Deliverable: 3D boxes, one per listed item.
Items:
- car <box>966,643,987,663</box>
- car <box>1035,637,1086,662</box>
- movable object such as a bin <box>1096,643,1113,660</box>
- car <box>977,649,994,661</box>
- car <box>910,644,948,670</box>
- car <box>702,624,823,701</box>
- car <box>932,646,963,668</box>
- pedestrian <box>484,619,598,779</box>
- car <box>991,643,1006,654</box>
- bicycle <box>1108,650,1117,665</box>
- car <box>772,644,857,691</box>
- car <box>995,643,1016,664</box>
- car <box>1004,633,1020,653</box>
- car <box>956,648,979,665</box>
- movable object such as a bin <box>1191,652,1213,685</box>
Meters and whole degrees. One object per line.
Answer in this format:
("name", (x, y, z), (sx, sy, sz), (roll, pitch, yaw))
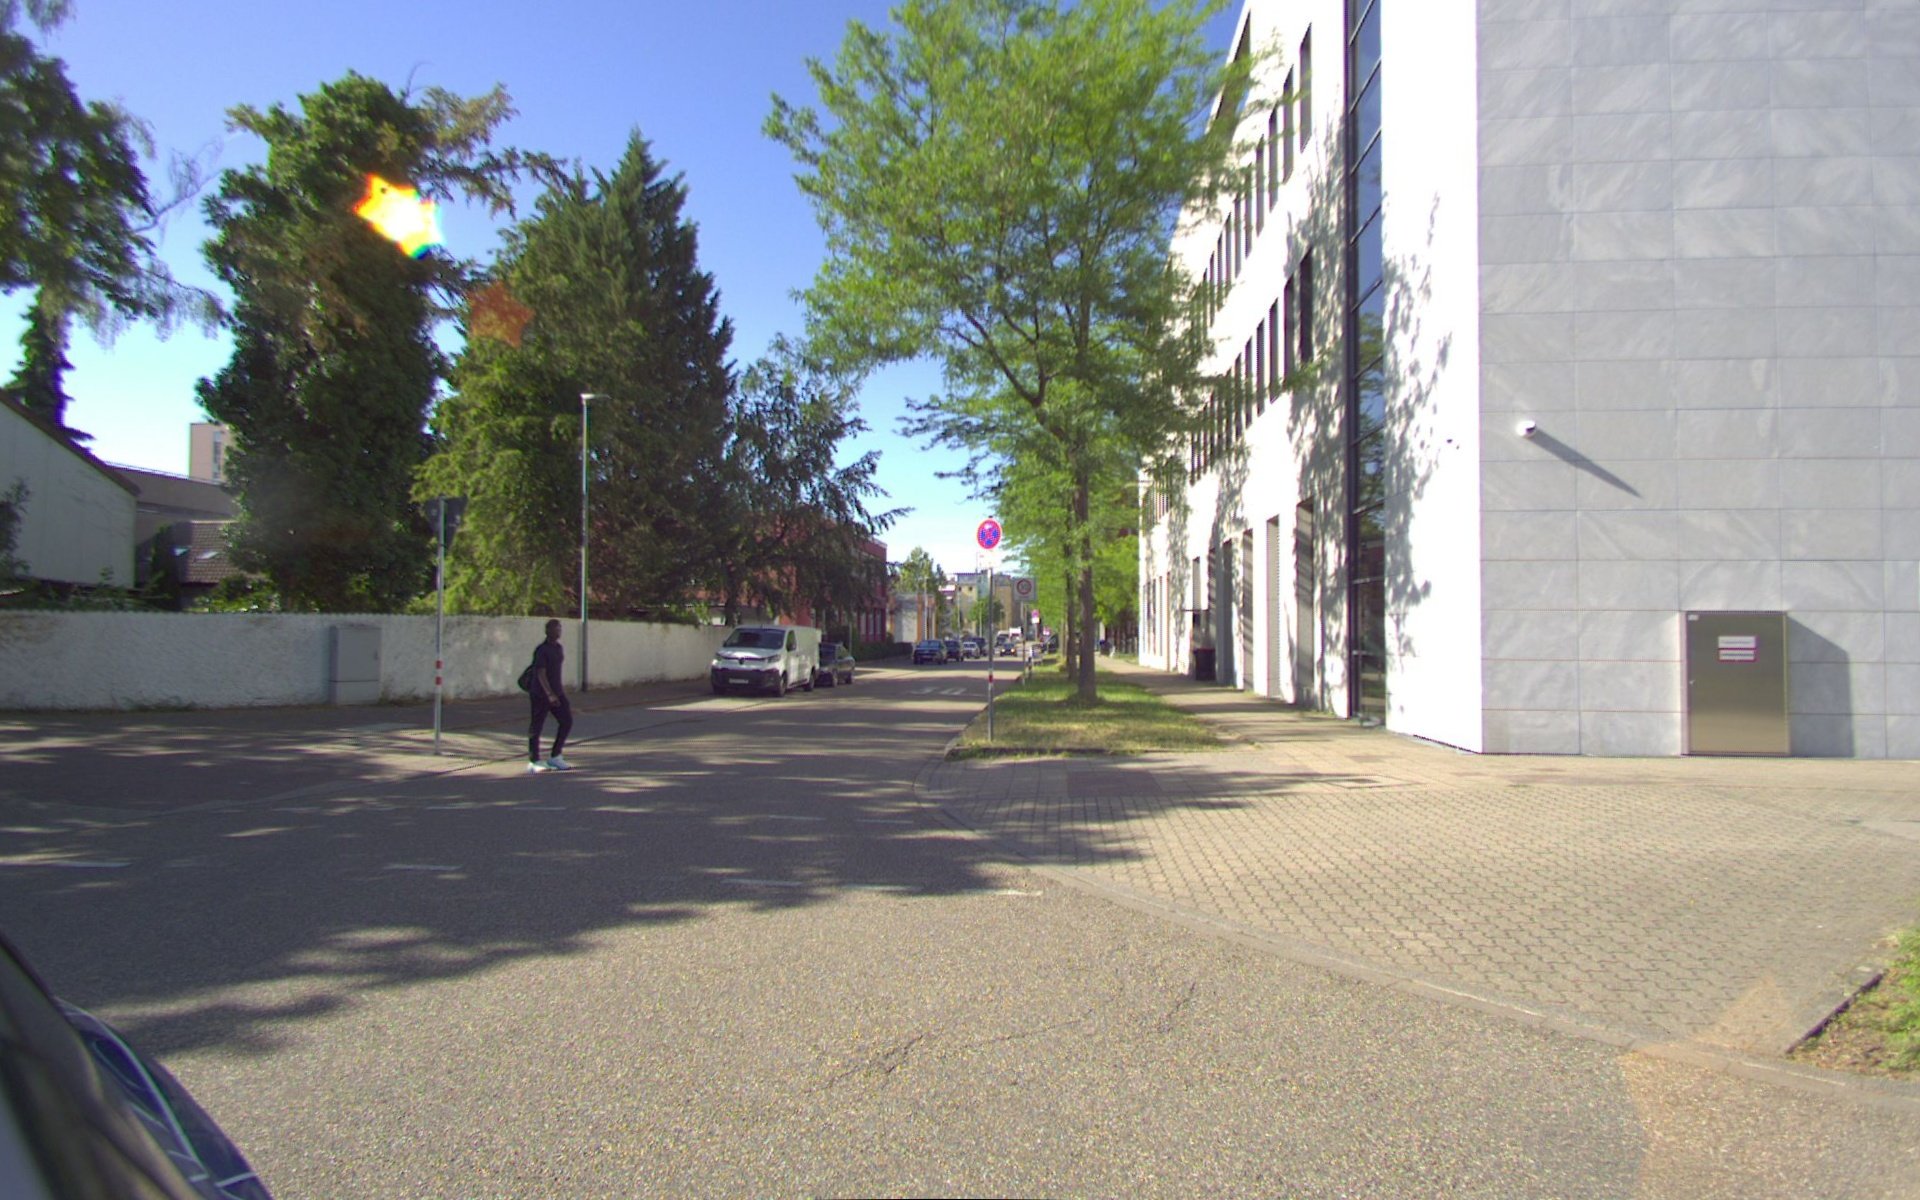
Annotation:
("car", (1.760, 5.668, 108.207), (1.881, 2.001, 4.363), (1, -3, 6))
("car", (10.907, 5.379, 110.281), (5.425, 2.561, 1.983), (-2, -3, 6))
("movable object such as a bin", (13.487, 4.825, 94.335), (1.508, 1.580, 1.342), (-2, -3, 11))
("car", (3.183, 6.709, 123.740), (1.756, 1.299, 4.087), (1, -3, 6))
("car", (-2.013, 3.718, 66.587), (1.881, 1.642, 4.363), (1, -3, 6))
("car", (-5.365, 1.697, 28.277), (1.881, 1.929, 5.137), (1, -3, 6))
("car", (-0.907, 4.353, 77.722), (1.857, 1.642, 4.397), (1, -3, 6))
("pedestrian", (-4.672, 1.085, 11.323), (0.801, 1.697, 0.833), (-1, -4, 19))
("car", (5.758, 7.200, 149.565), (1.881, 1.607, 4.363), (1, -3, 6))
("bicycle", (12.180, 4.592, 81.056), (0.595, 1.201, 1.724), (-1, -3, 6))
("car", (-4.795, 2.210, 33.951), (1.809, 1.434, 4.274), (1, -3, 6))
("car", (4.640, 5.403, 102.906), (1.881, 2.001, 4.363), (1, -3, 6))
("car", (10.814, 8.933, 209.063), (2.881, 3.973, 6.311), (0, -3, 7))
("car", (0.720, 5.153, 92.404), (1.680, 1.467, 3.882), (1, -3, 6))
("movable object such as a bin", (7.803, 2.193, 32.638), (0.587, 1.048, 0.543), (-1, -3, 4))
